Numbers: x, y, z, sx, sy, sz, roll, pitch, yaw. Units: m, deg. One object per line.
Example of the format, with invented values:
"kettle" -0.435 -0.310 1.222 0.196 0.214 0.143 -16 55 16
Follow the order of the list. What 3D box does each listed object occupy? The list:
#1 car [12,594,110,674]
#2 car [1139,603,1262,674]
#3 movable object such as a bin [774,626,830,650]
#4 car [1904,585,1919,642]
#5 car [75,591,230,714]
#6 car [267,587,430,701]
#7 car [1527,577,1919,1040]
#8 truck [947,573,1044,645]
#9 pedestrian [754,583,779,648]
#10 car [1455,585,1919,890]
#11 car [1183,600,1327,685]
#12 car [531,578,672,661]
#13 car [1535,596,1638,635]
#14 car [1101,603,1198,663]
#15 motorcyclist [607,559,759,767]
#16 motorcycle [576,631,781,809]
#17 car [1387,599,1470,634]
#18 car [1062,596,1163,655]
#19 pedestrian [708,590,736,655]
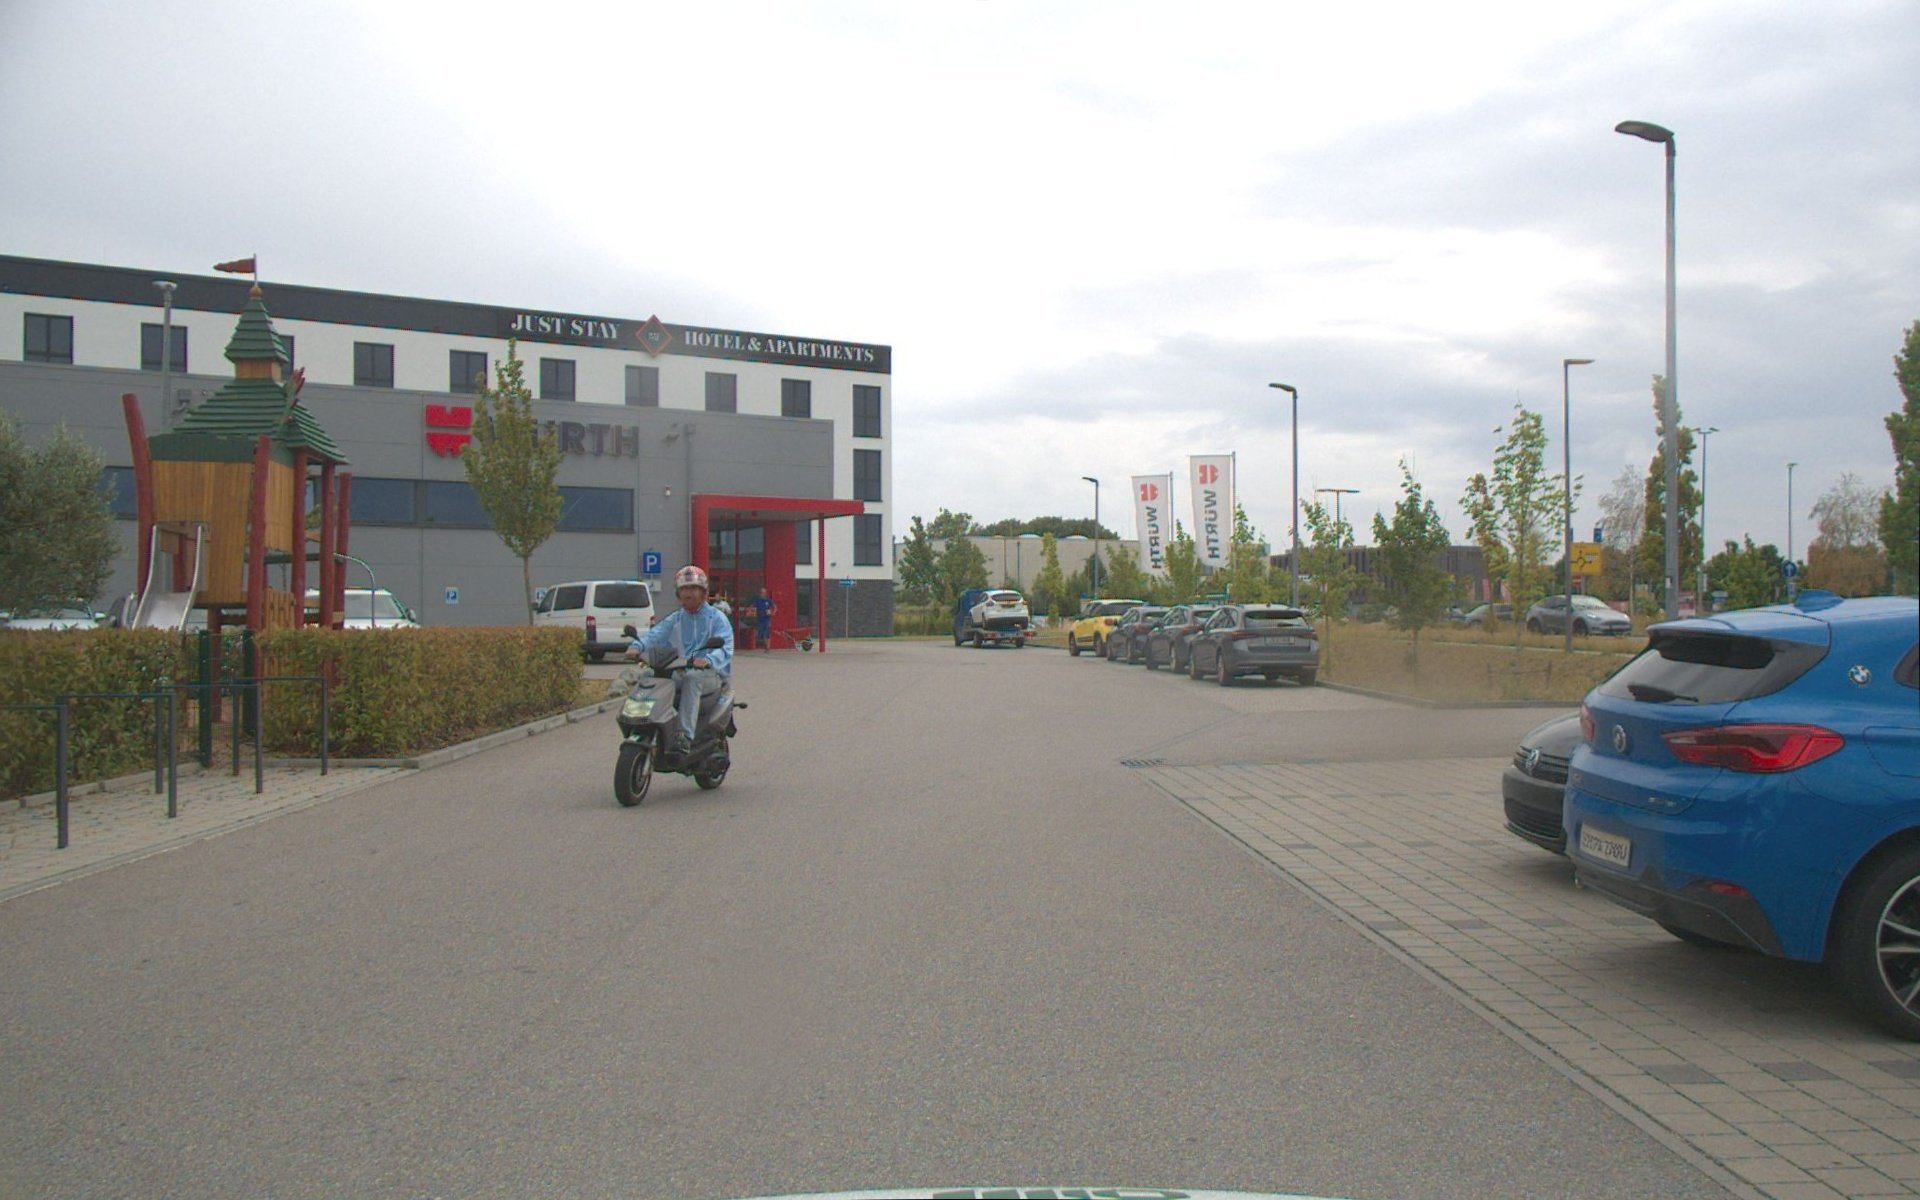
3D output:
"car" -19.468 0.733 35.773 1.718 1.579 4.221 -2 0 -30
"car" 5.314 0.819 37.048 1.717 1.495 4.470 0 0 -6
"movable object such as a bin" -4.833 1.164 50.455 1.470 0.716 0.957 1 -1 -26
"car" 24.967 0.327 39.843 1.729 1.419 4.213 0 0 -6
"car" -12.641 0.778 25.851 1.971 1.679 4.536 -2 0 -27
"car" -10.221 0.702 27.448 1.971 1.679 4.536 -2 0 -27
"car" 4.646 0.709 6.616 4.117 1.571 1.864 0 0 -2
"truck" 1.321 0.448 66.182 2.289 2.449 7.874 1 -3 -11
"pedestrian" -5.532 0.432 47.275 0.663 1.834 0.879 0 -1 -6
"car" 5.018 0.676 9.220 3.978 1.485 1.776 -1 0 0
"car" 5.504 0.757 31.363 1.717 1.495 4.473 0 0 -3
"car" -8.987 0.489 41.256 2.038 1.887 4.012 -3 0 -34
"car" 23.402 0.571 61.999 1.729 1.419 4.552 0 0 -6
"car" 4.928 0.835 43.426 1.717 1.495 4.102 0 0 -6
"motorcyclist" -2.095 0.469 12.621 0.810 1.515 0.942 -1 -1 16
"motorcycle" -2.100 0.866 12.620 0.775 1.229 1.923 -1 -1 16
"car" 23.002 0.807 81.360 1.766 1.579 4.837 -2 0 -14
"car" 4.539 0.778 49.832 1.825 1.679 3.985 1 -1 -14
"pedestrian" -6.573 0.612 45.701 0.611 1.782 0.905 0 -1 1
